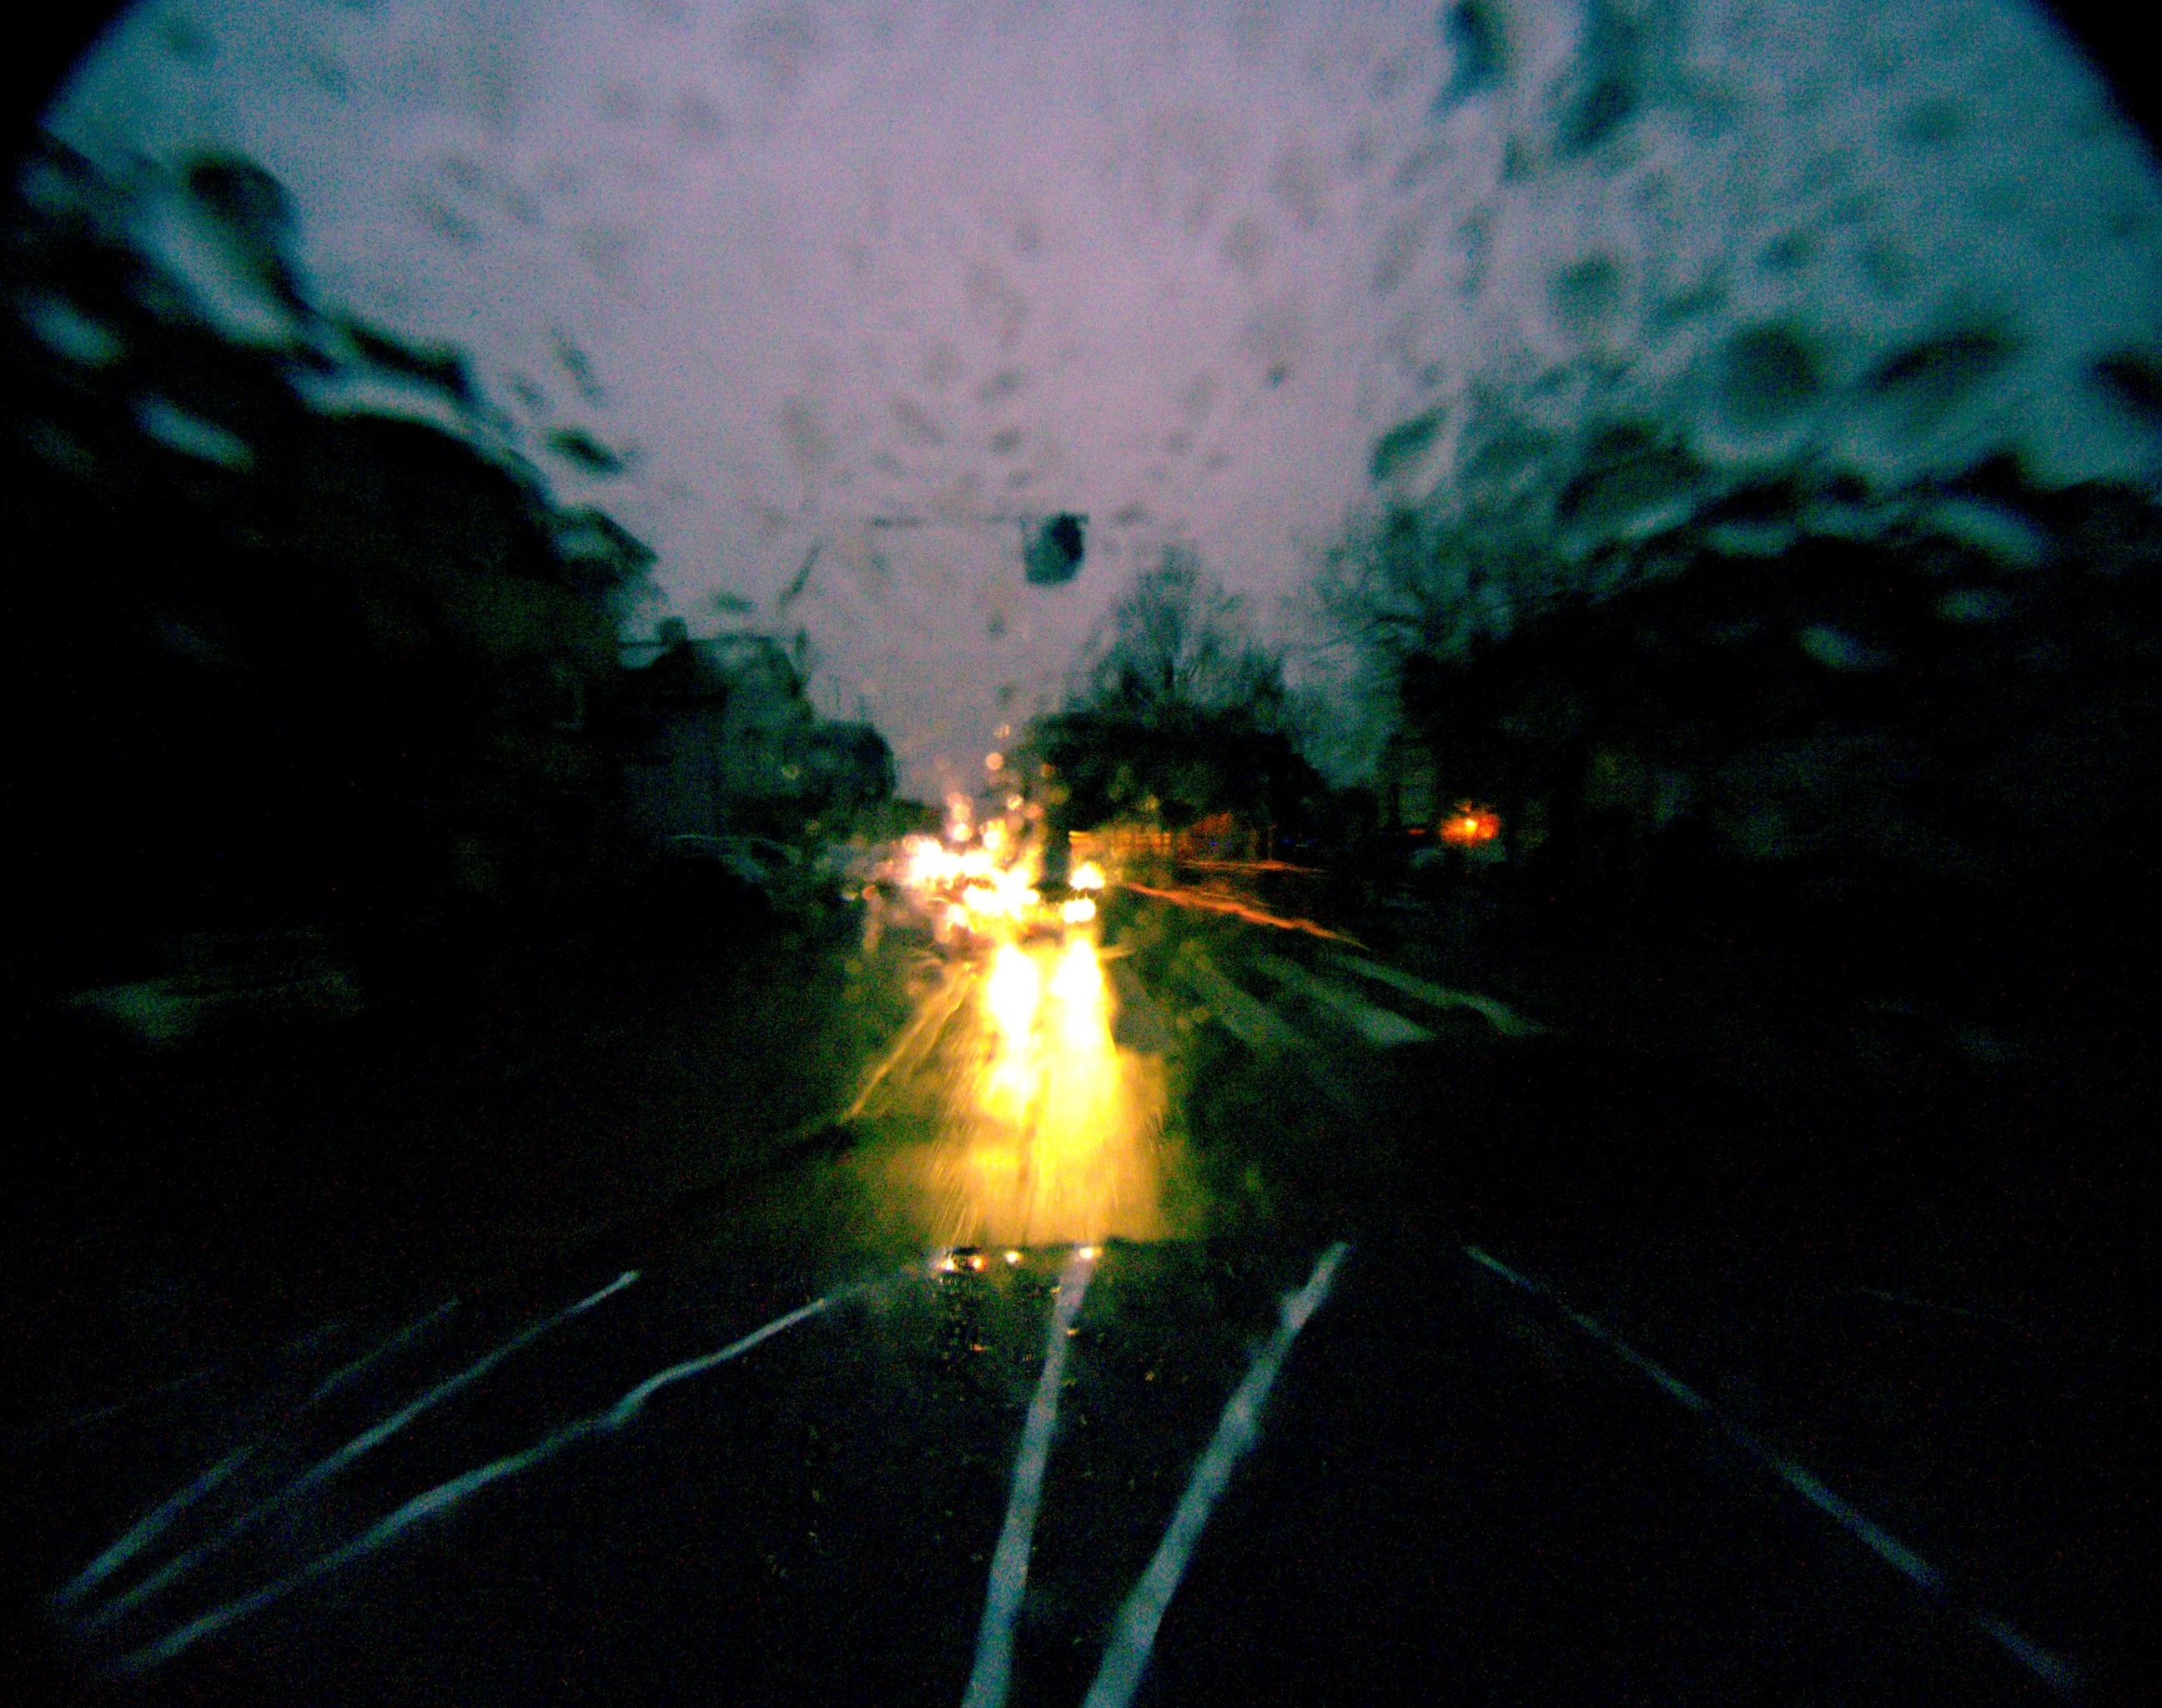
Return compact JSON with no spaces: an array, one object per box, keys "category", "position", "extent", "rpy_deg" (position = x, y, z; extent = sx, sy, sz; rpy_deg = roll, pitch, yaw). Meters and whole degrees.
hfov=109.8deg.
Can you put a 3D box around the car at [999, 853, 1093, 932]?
[{"category":"car","position":[-0.900,0.767,17.171],"extent":[1.732,1.475,3.601],"rpy_deg":[-3,1,-8]}]

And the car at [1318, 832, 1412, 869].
[{"category":"car","position":[13.194,-0.156,35.473],"extent":[3.992,1.623,1.636],"rpy_deg":[-1,1,18]}]

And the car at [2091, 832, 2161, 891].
[{"category":"car","position":[24.916,0.064,16.713],"extent":[3.051,1.120,1.529],"rpy_deg":[-6,0,6]}]

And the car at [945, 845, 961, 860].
[{"category":"car","position":[-18.208,-0.252,108.307],"extent":[1.839,2.002,3.695],"rpy_deg":[-3,1,-14]}]

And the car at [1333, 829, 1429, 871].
[{"category":"car","position":[12.800,-0.176,32.386],"extent":[3.626,1.603,1.613],"rpy_deg":[-2,1,26]}]

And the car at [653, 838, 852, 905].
[{"category":"car","position":[-9.539,0.498,22.376],"extent":[4.993,1.878,1.937],"rpy_deg":[0,0,0]}]

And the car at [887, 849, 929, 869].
[{"category":"car","position":[-16.898,0.465,74.200],"extent":[3.893,1.866,1.866],"rpy_deg":[-1,1,-18]}]

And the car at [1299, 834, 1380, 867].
[{"category":"car","position":[13.769,-0.168,40.472],"extent":[3.990,1.623,1.637],"rpy_deg":[-1,1,23]}]

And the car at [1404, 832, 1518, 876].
[{"category":"car","position":[13.427,-0.001,26.935],"extent":[3.477,1.401,1.613],"rpy_deg":[-2,1,28]}]

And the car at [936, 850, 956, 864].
[{"category":"car","position":[-15.613,0.350,87.970],"extent":[1.903,1.458,3.995],"rpy_deg":[-3,1,-14]}]

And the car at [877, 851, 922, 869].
[{"category":"car","position":[-16.398,0.518,68.761],"extent":[3.857,1.618,1.609],"rpy_deg":[-1,0,-17]}]

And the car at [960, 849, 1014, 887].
[{"category":"car","position":[-4.431,0.617,35.432],"extent":[1.925,1.608,3.863],"rpy_deg":[-3,1,-14]}]

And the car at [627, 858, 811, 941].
[{"category":"car","position":[-6.735,0.818,14.332],"extent":[2.770,1.465,1.426],"rpy_deg":[0,1,0]}]

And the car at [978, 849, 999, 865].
[{"category":"car","position":[-9.928,0.320,81.247],"extent":[1.901,1.607,3.822],"rpy_deg":[-3,1,-12]}]

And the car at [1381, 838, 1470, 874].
[{"category":"car","position":[13.421,0.083,29.588],"extent":[3.048,1.213,1.613],"rpy_deg":[-2,1,26]}]

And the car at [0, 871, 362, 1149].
[{"category":"car","position":[-6.844,0.904,5.067],"extent":[2.589,1.538,1.551],"rpy_deg":[0,0,0]}]

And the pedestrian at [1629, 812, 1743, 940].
[{"category":"pedestrian","position":[8.617,0.308,10.870],"extent":[0.881,1.725,0.956],"rpy_deg":[-2,1,8]}]

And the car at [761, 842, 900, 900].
[{"category":"car","position":[-8.214,0.543,25.219],"extent":[4.054,1.833,1.862],"rpy_deg":[0,1,-5]}]
